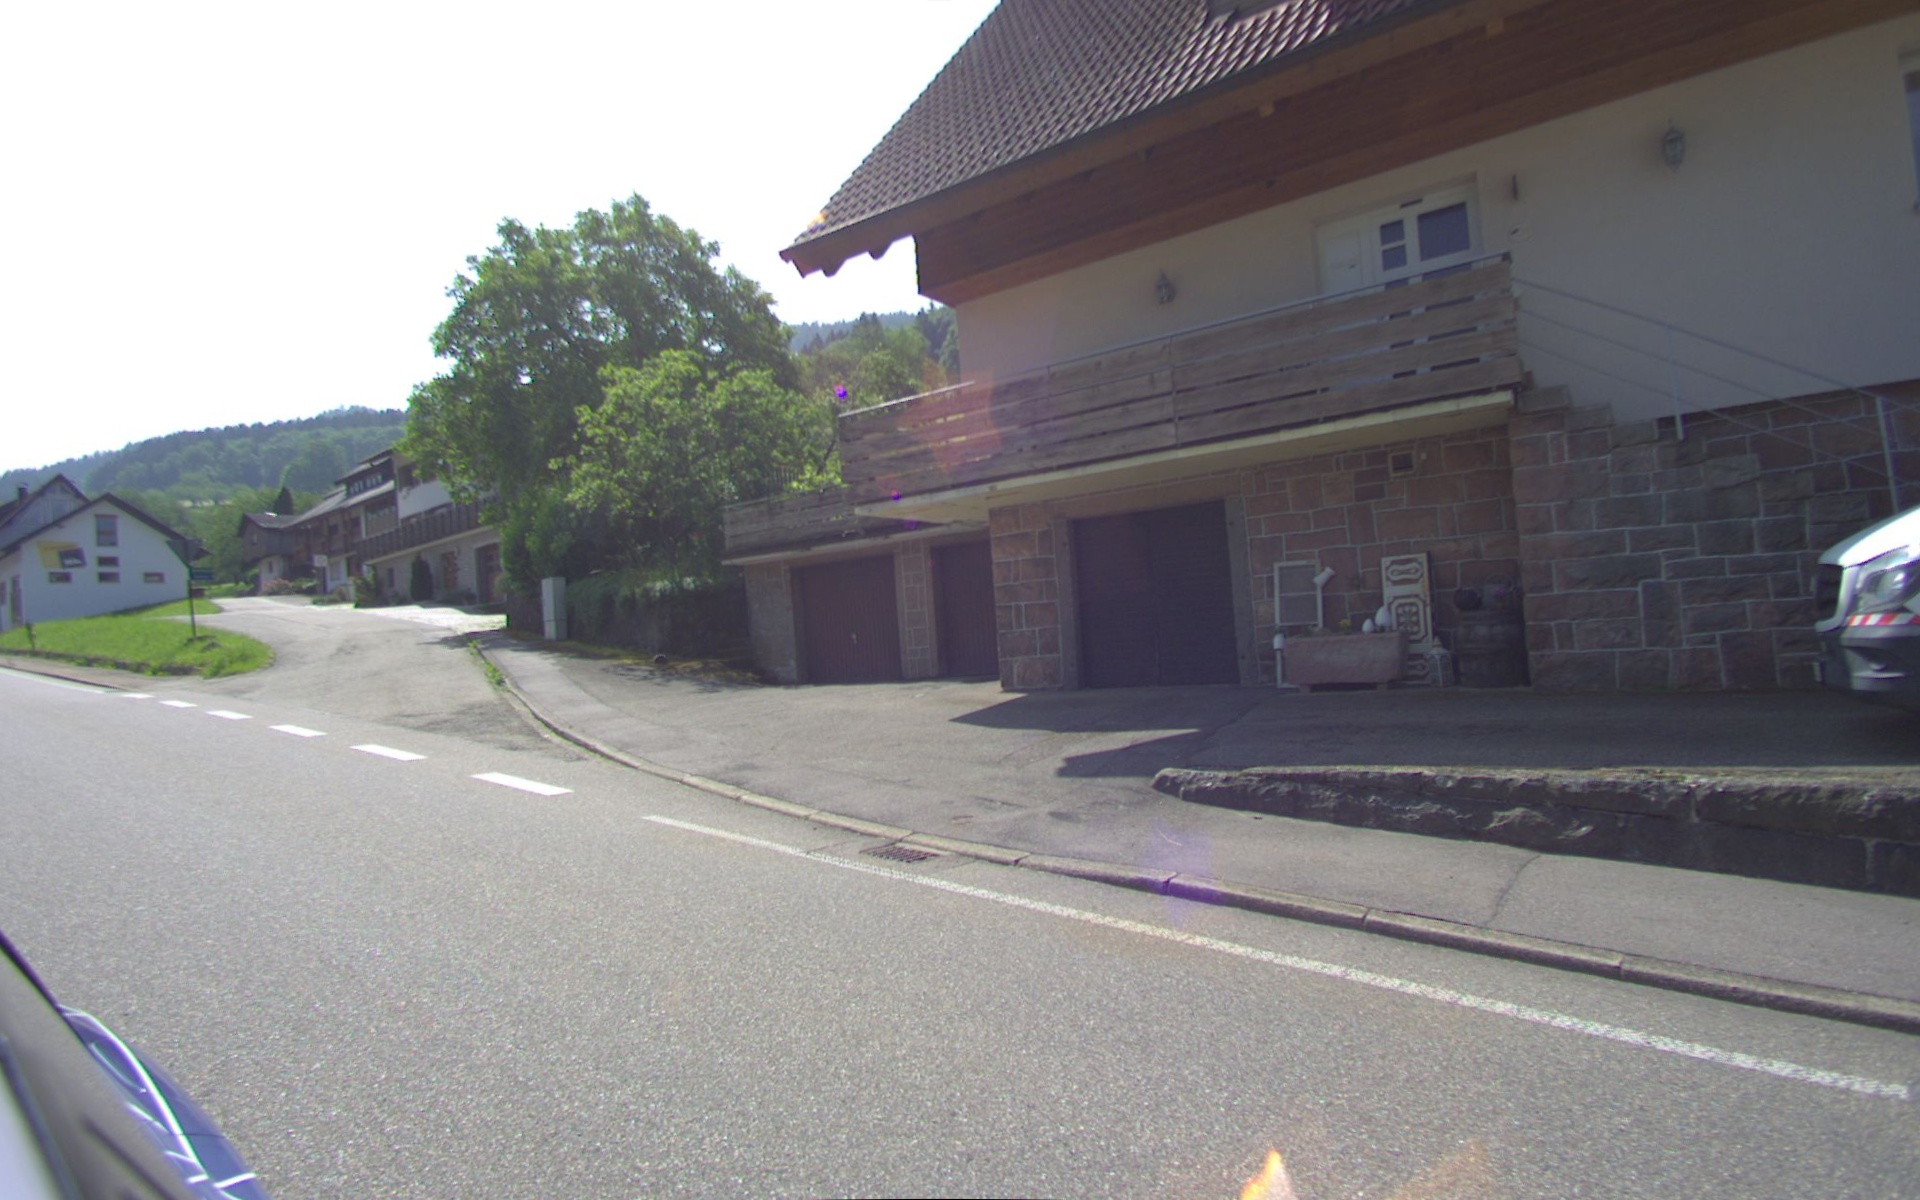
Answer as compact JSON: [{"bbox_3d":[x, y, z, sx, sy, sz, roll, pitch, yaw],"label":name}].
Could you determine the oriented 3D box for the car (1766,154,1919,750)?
[{"bbox_3d":[7.431,-0.957,3.433,7.166,2.708,2.047,-6,-1,39],"label":"car"}]
